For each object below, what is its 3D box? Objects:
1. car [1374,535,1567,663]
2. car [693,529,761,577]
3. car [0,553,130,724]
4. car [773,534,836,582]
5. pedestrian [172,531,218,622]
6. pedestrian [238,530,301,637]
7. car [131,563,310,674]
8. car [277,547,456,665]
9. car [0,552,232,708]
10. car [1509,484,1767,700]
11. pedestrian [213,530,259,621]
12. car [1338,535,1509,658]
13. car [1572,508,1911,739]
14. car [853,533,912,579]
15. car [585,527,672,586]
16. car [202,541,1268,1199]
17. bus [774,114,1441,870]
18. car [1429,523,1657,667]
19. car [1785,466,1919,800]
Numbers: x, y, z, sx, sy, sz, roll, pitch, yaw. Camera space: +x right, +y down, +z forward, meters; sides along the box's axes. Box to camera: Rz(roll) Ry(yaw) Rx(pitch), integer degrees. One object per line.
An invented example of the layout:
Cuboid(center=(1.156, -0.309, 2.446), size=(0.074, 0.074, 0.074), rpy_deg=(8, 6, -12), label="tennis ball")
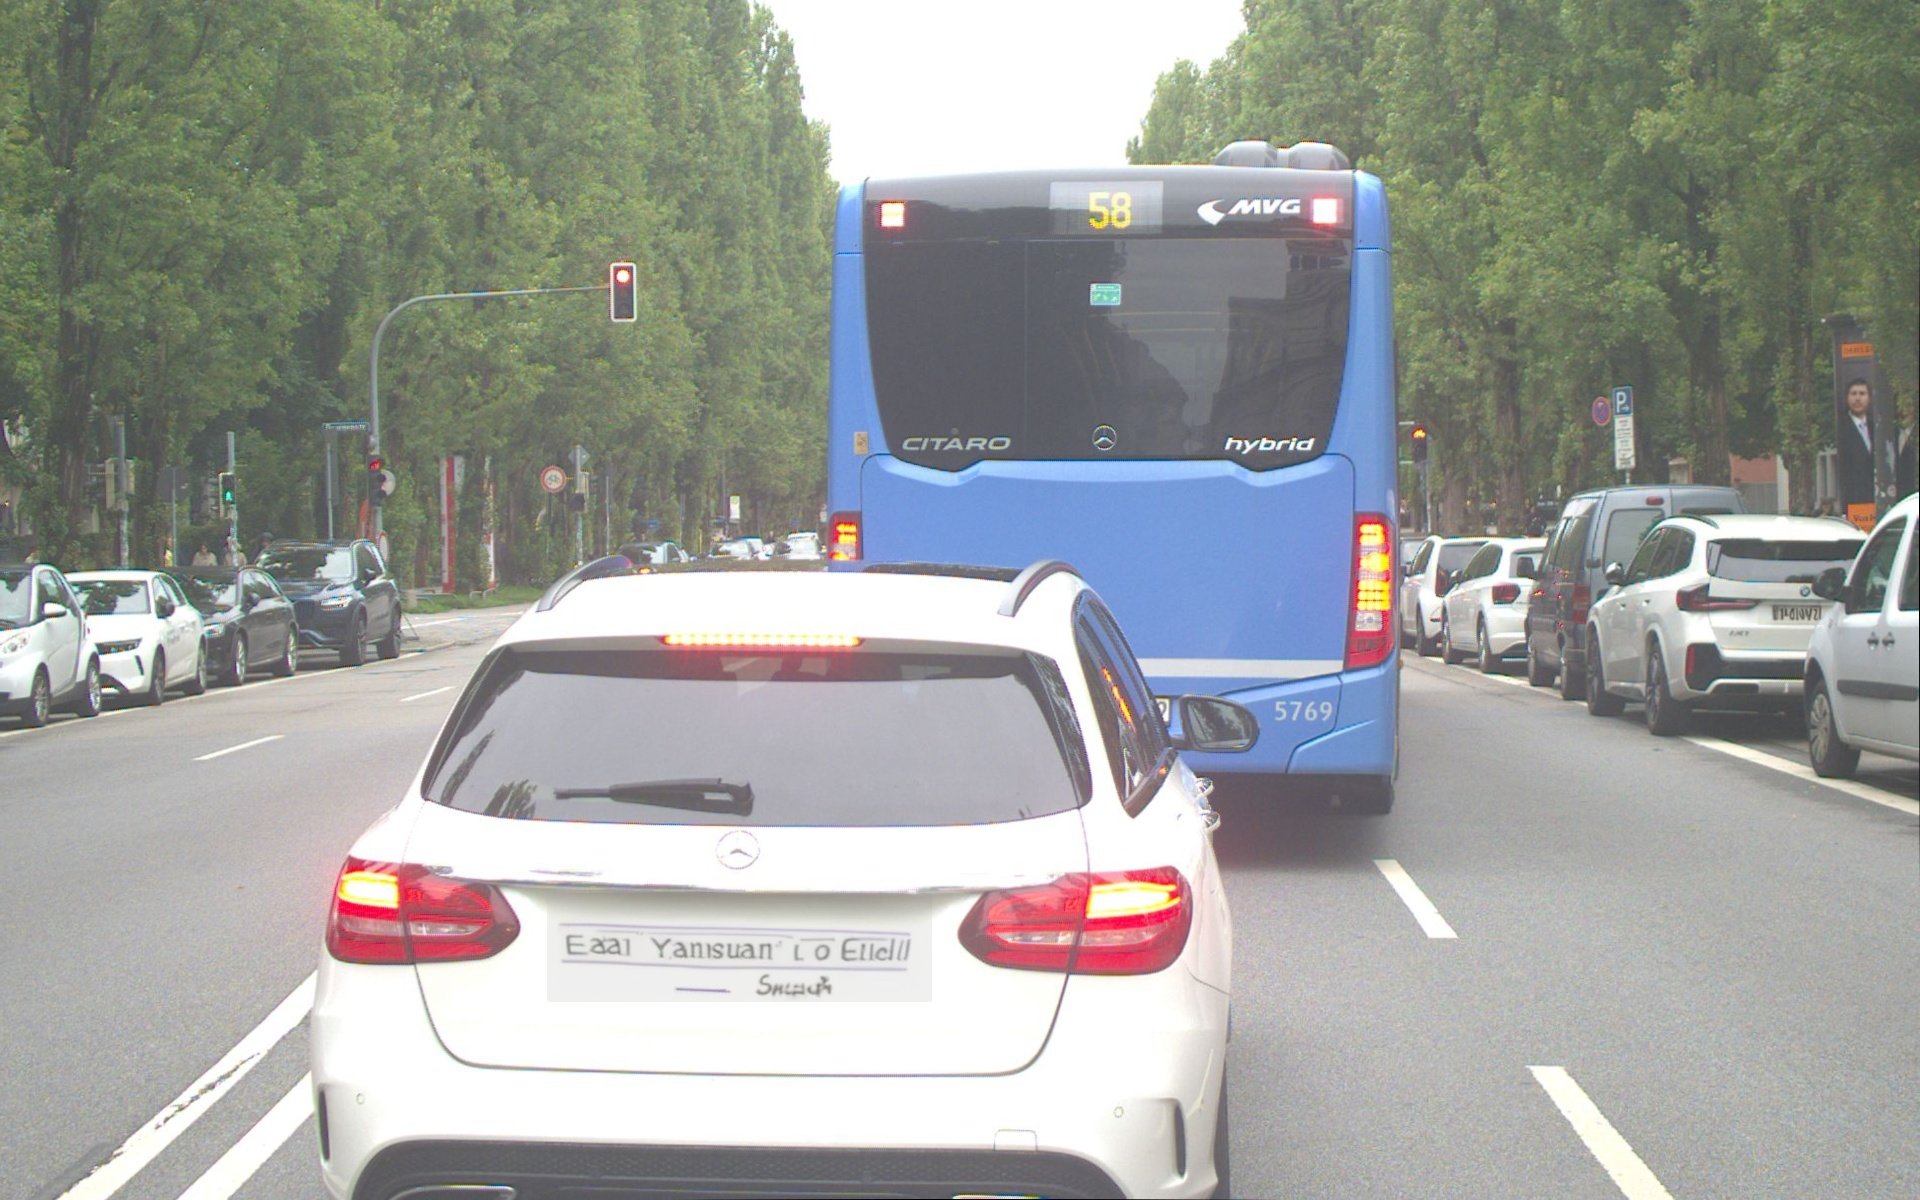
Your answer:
Cuboid(center=(6.306, -0.050, 42.823), size=(1.785, 1.486, 4.000), rpy_deg=(-1, 1, 0), label="car")
Cuboid(center=(-7.361, -1.502, 108.864), size=(1.821, 1.481, 4.000), rpy_deg=(-1, 1, 0), label="car")
Cuboid(center=(-9.198, 0.336, 33.250), size=(1.410, 1.546, 3.444), rpy_deg=(-1, 1, 2), label="car")
Cuboid(center=(-5.021, -1.370, 111.309), size=(1.821, 1.481, 4.000), rpy_deg=(-1, 1, 0), label="car")
Cuboid(center=(-17.064, -0.539, 76.688), size=(0.830, 2.007, 0.778), rpy_deg=(-1, 1, -1), label="pedestrian")
Cuboid(center=(-11.488, -0.280, 57.251), size=(0.821, 1.758, 1.081), rpy_deg=(-1, 1, -1), label="pedestrian")
Cuboid(center=(-9.150, 0.199, 42.778), size=(1.289, 1.269, 3.849), rpy_deg=(-1, 1, 2), label="car")
Cuboid(center=(-8.286, 0.052, 48.298), size=(1.707, 1.546, 4.000), rpy_deg=(-1, 1, 2), label="car")
Cuboid(center=(-9.147, 0.278, 37.115), size=(1.708, 1.542, 4.000), rpy_deg=(-1, 1, 0), label="car")
Cuboid(center=(6.113, -0.114, 31.393), size=(1.703, 1.829, 4.000), rpy_deg=(1, 1, 2), label="car")
Cuboid(center=(-16.174, -0.545, 76.834), size=(0.830, 2.007, 0.778), rpy_deg=(-1, 1, -1), label="pedestrian")
Cuboid(center=(6.423, -0.089, 47.985), size=(1.809, 1.612, 4.000), rpy_deg=(-1, 1, 0), label="car")
Cuboid(center=(5.829, 0.118, 26.101), size=(1.677, 1.590, 4.087), rpy_deg=(1, 1, 1), label="car")
Cuboid(center=(-2.757, -1.583, 123.558), size=(1.993, 1.613, 4.000), rpy_deg=(-1, 1, 0), label="car")
Cuboid(center=(-8.601, -1.152, 89.475), size=(1.821, 1.481, 4.000), rpy_deg=(-1, 1, 0), label="car")
Cuboid(center=(-0.270, 0.591, 8.155), size=(1.826, 1.449, 4.582), rpy_deg=(0, 1, 3), label="car")
Cuboid(center=(1.165, -0.557, 19.233), size=(2.856, 3.202, 9.058), rpy_deg=(0, 1, 7), label="bus")
Cuboid(center=(6.325, -0.095, 37.677), size=(1.798, 1.470, 4.000), rpy_deg=(-1, 1, 0), label="car")
Cuboid(center=(6.000, 0.178, 18.951), size=(1.833, 1.767, 4.230), rpy_deg=(1, 1, 0), label="car")
